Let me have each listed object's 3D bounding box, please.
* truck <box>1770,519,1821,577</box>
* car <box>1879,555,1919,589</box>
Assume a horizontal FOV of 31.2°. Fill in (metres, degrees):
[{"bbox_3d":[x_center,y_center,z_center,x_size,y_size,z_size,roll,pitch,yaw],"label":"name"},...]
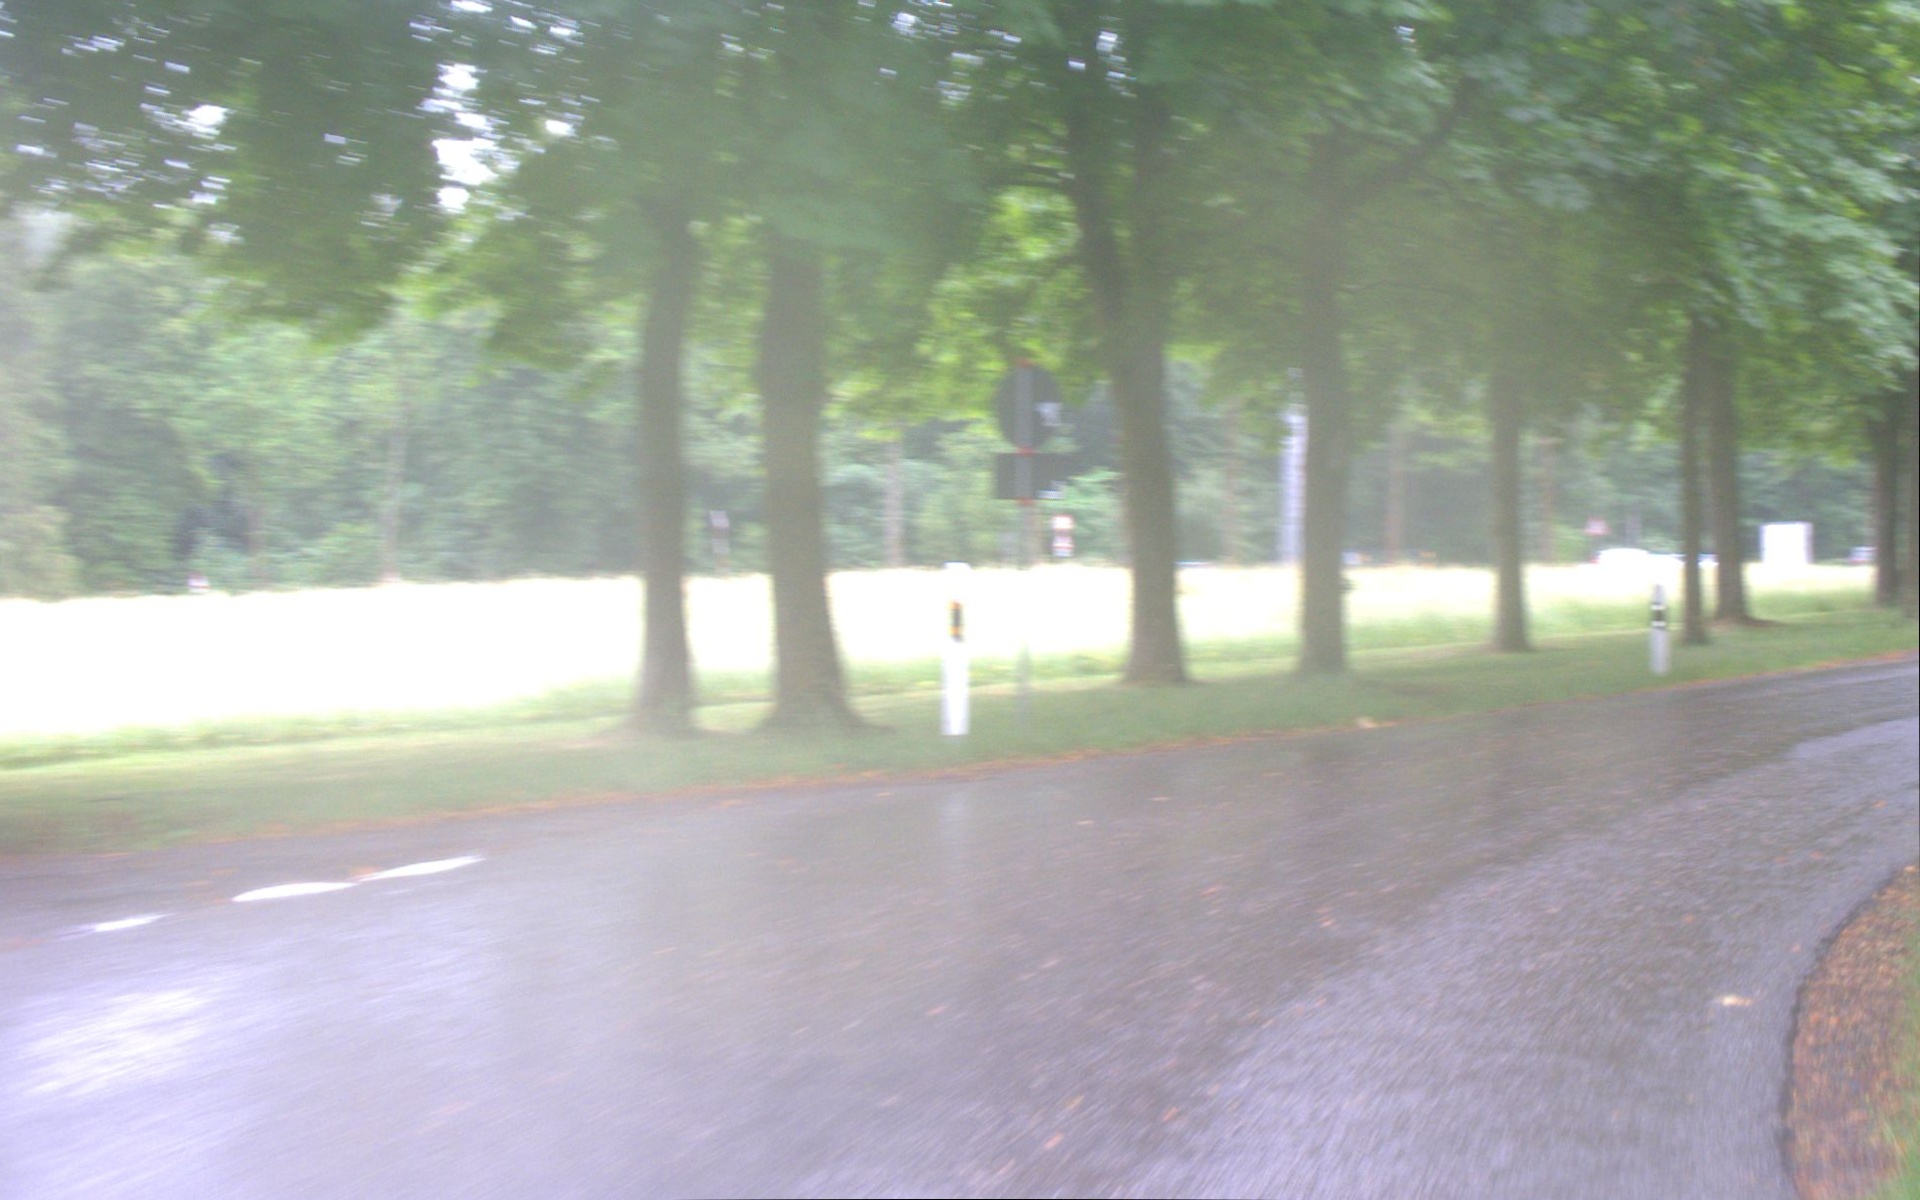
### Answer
[{"bbox_3d":[35.965,-2.245,147.965,1.871,2.434,3.346,-1,0,18],"label":"truck"},{"bbox_3d":[40.454,-1.183,147.755,1.764,1.424,4.104,-1,0,14],"label":"car"}]
